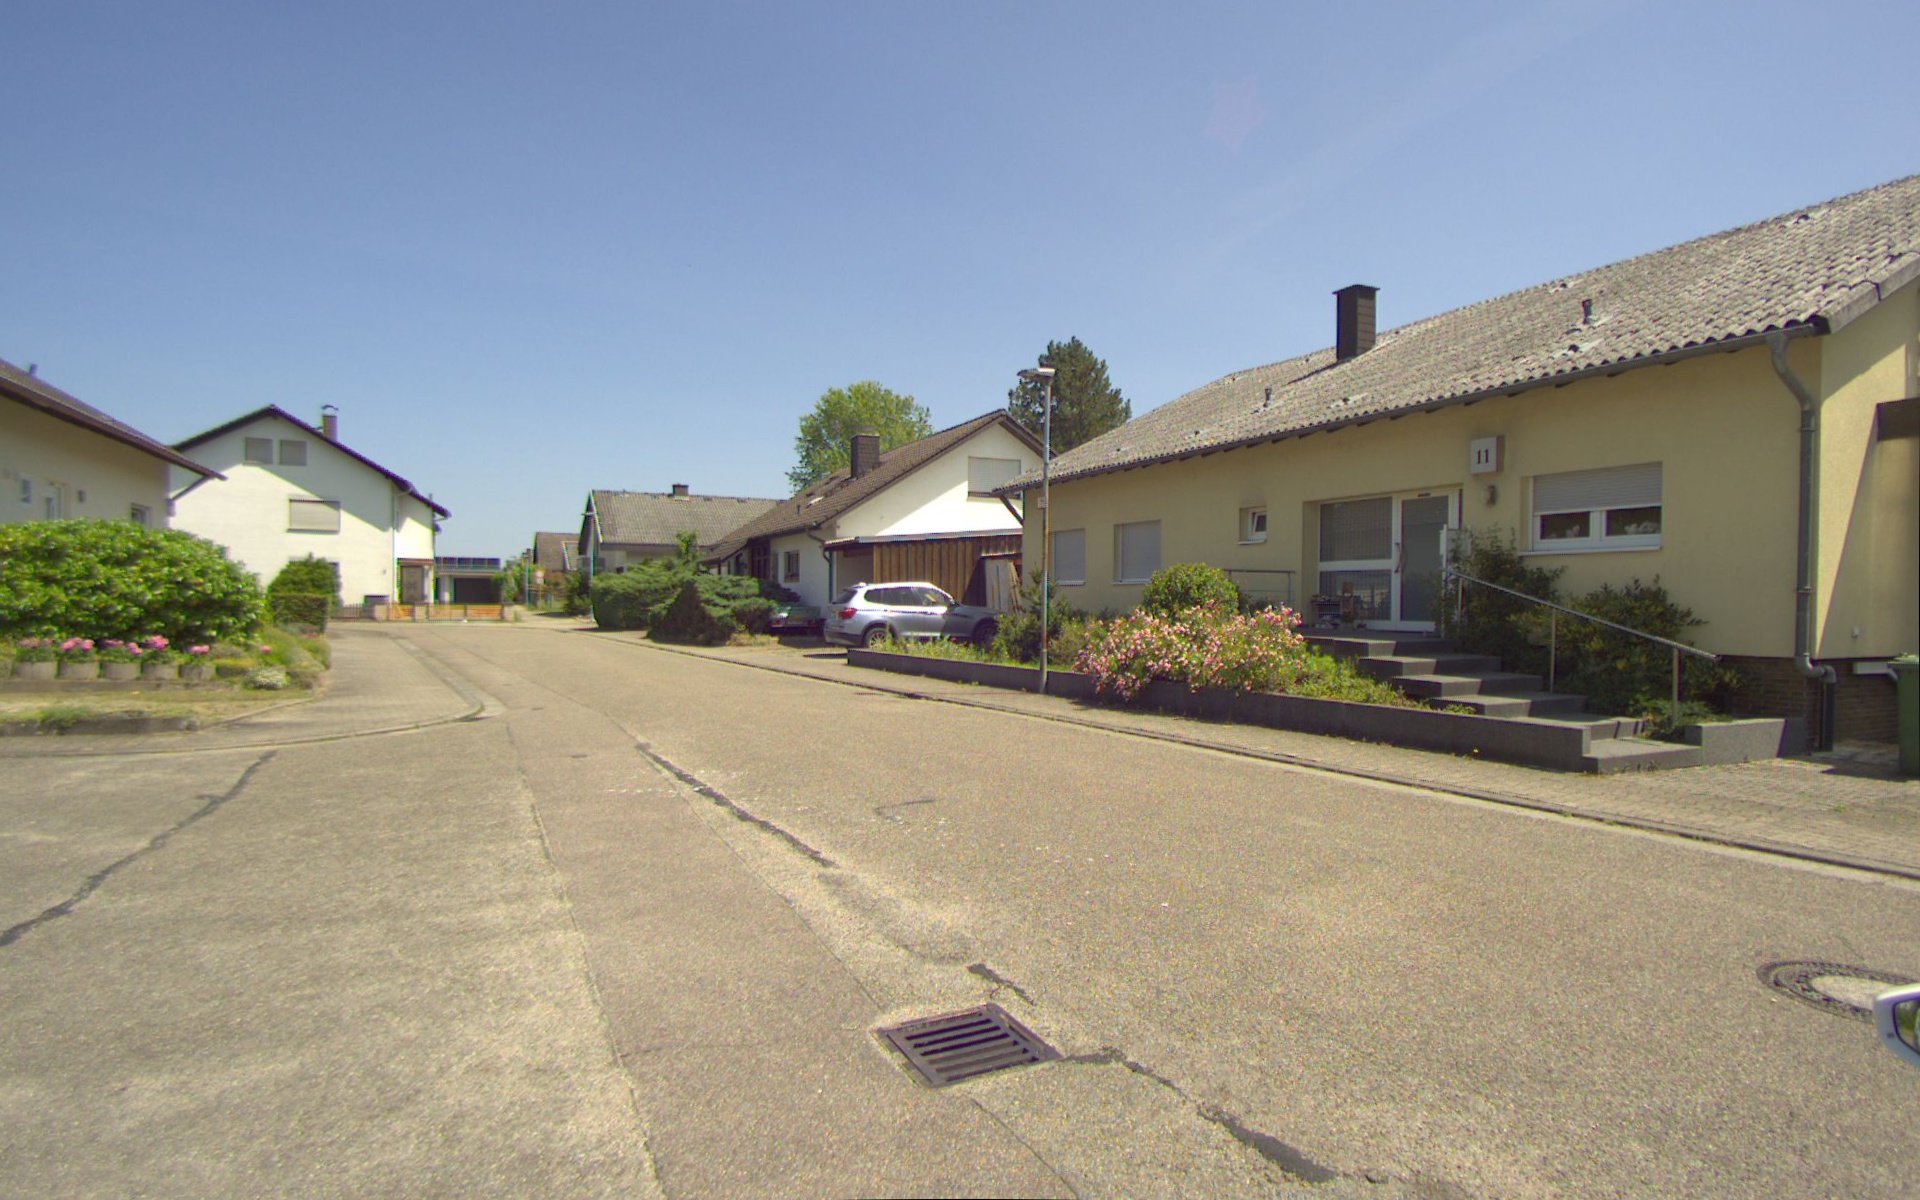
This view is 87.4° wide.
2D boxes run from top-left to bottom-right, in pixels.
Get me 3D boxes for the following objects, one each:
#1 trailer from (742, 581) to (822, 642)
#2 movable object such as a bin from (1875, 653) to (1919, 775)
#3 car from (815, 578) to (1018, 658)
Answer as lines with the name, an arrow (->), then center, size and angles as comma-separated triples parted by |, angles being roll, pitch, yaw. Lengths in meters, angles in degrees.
trailer -> -5.433, 0.300, 30.381 | 1.570, 1.695, 3.275 | -1, 2, -25
movable object such as a bin -> 8.611, 1.012, 8.946 | 0.486, 1.055, 0.587 | 0, 0, -33
car -> -1.033, 0.380, 24.119 | 4.576, 1.725, 1.700 | -1, 1, -23
